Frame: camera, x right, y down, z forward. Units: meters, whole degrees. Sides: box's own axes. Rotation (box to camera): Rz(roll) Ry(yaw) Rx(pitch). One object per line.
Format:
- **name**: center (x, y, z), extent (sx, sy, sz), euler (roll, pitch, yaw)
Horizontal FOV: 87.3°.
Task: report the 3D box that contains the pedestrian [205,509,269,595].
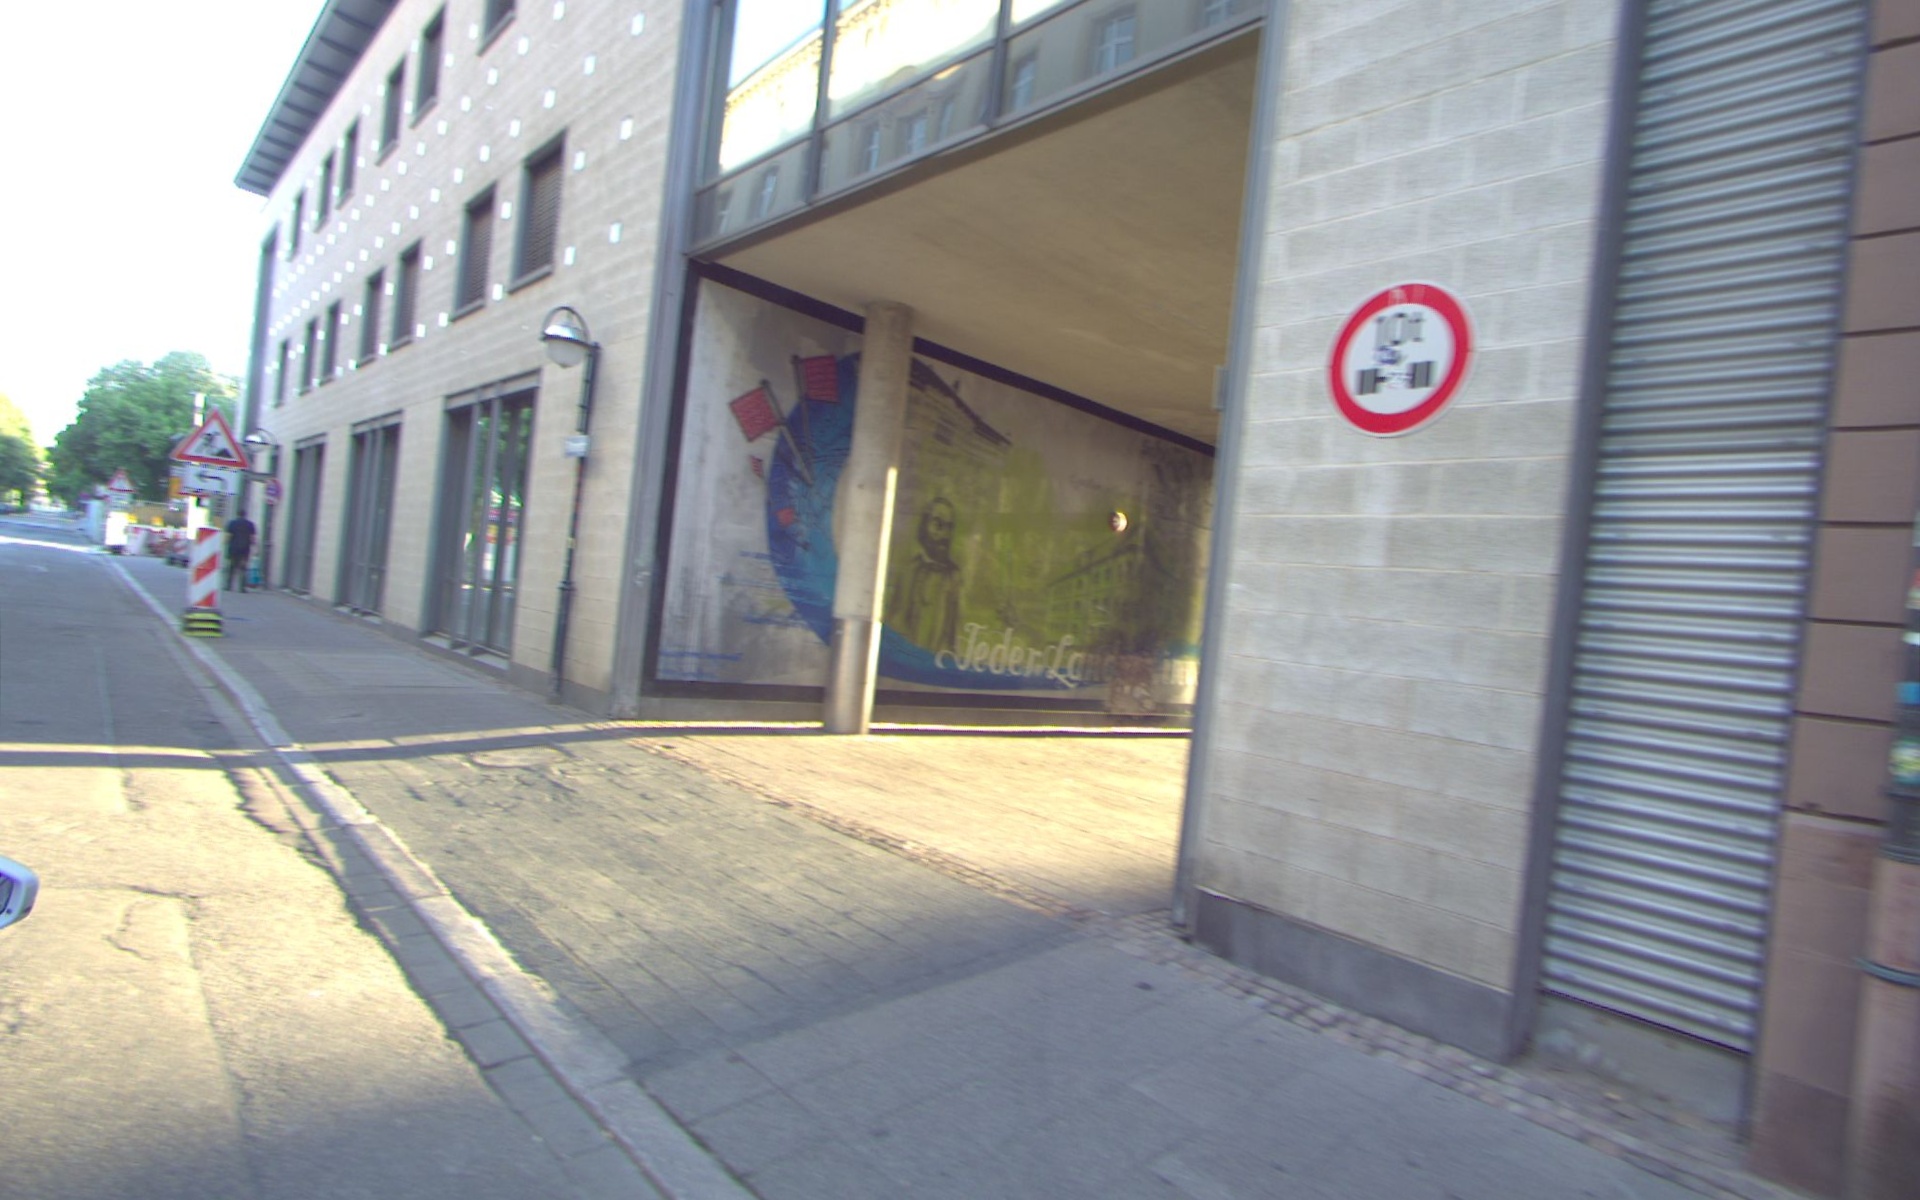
- **pedestrian**: center (-15.623, -1.040, 21.727), extent (0.919, 1.724, 0.858), euler (5, 1, -43)
